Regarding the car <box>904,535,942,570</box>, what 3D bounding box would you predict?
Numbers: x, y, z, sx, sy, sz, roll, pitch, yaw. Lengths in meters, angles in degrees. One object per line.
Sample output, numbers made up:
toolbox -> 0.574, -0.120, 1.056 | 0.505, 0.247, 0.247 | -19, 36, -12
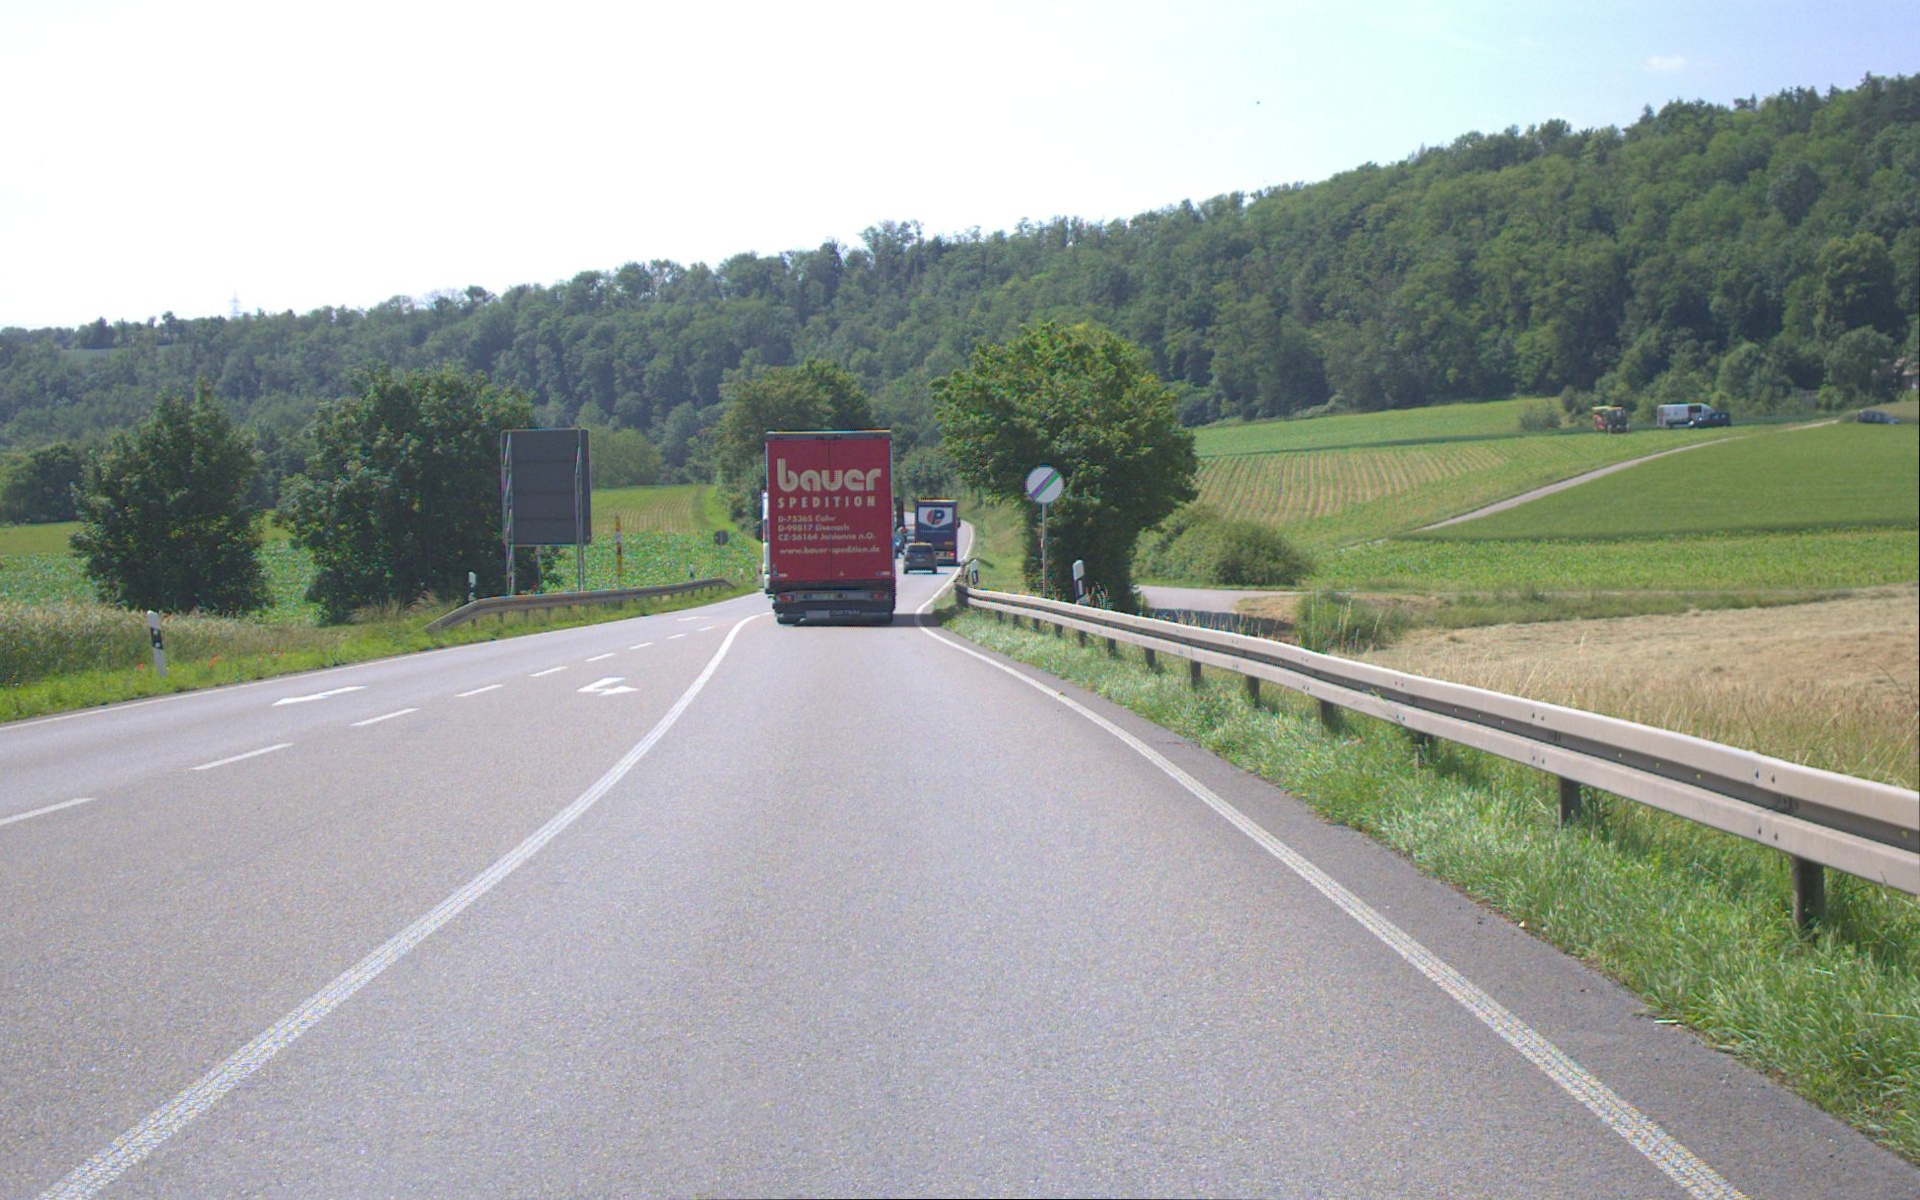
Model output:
car -> -2.021, -2.561, 186.436 | 1.993, 1.804, 4.000 | 2, 1, -1

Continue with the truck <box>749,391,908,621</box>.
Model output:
truck -> -2.893, -2.048, 76.192 | 3.172, 4.609, 13.545 | -1, 1, -2

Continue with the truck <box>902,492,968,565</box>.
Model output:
truck -> -1.589, -4.444, 217.181 | 3.905, 4.354, 13.293 | 2, 1, 0

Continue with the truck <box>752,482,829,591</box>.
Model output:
truck -> -6.658, -2.475, 135.717 | 2.530, 4.105, 6.021 | -2, 1, 0
